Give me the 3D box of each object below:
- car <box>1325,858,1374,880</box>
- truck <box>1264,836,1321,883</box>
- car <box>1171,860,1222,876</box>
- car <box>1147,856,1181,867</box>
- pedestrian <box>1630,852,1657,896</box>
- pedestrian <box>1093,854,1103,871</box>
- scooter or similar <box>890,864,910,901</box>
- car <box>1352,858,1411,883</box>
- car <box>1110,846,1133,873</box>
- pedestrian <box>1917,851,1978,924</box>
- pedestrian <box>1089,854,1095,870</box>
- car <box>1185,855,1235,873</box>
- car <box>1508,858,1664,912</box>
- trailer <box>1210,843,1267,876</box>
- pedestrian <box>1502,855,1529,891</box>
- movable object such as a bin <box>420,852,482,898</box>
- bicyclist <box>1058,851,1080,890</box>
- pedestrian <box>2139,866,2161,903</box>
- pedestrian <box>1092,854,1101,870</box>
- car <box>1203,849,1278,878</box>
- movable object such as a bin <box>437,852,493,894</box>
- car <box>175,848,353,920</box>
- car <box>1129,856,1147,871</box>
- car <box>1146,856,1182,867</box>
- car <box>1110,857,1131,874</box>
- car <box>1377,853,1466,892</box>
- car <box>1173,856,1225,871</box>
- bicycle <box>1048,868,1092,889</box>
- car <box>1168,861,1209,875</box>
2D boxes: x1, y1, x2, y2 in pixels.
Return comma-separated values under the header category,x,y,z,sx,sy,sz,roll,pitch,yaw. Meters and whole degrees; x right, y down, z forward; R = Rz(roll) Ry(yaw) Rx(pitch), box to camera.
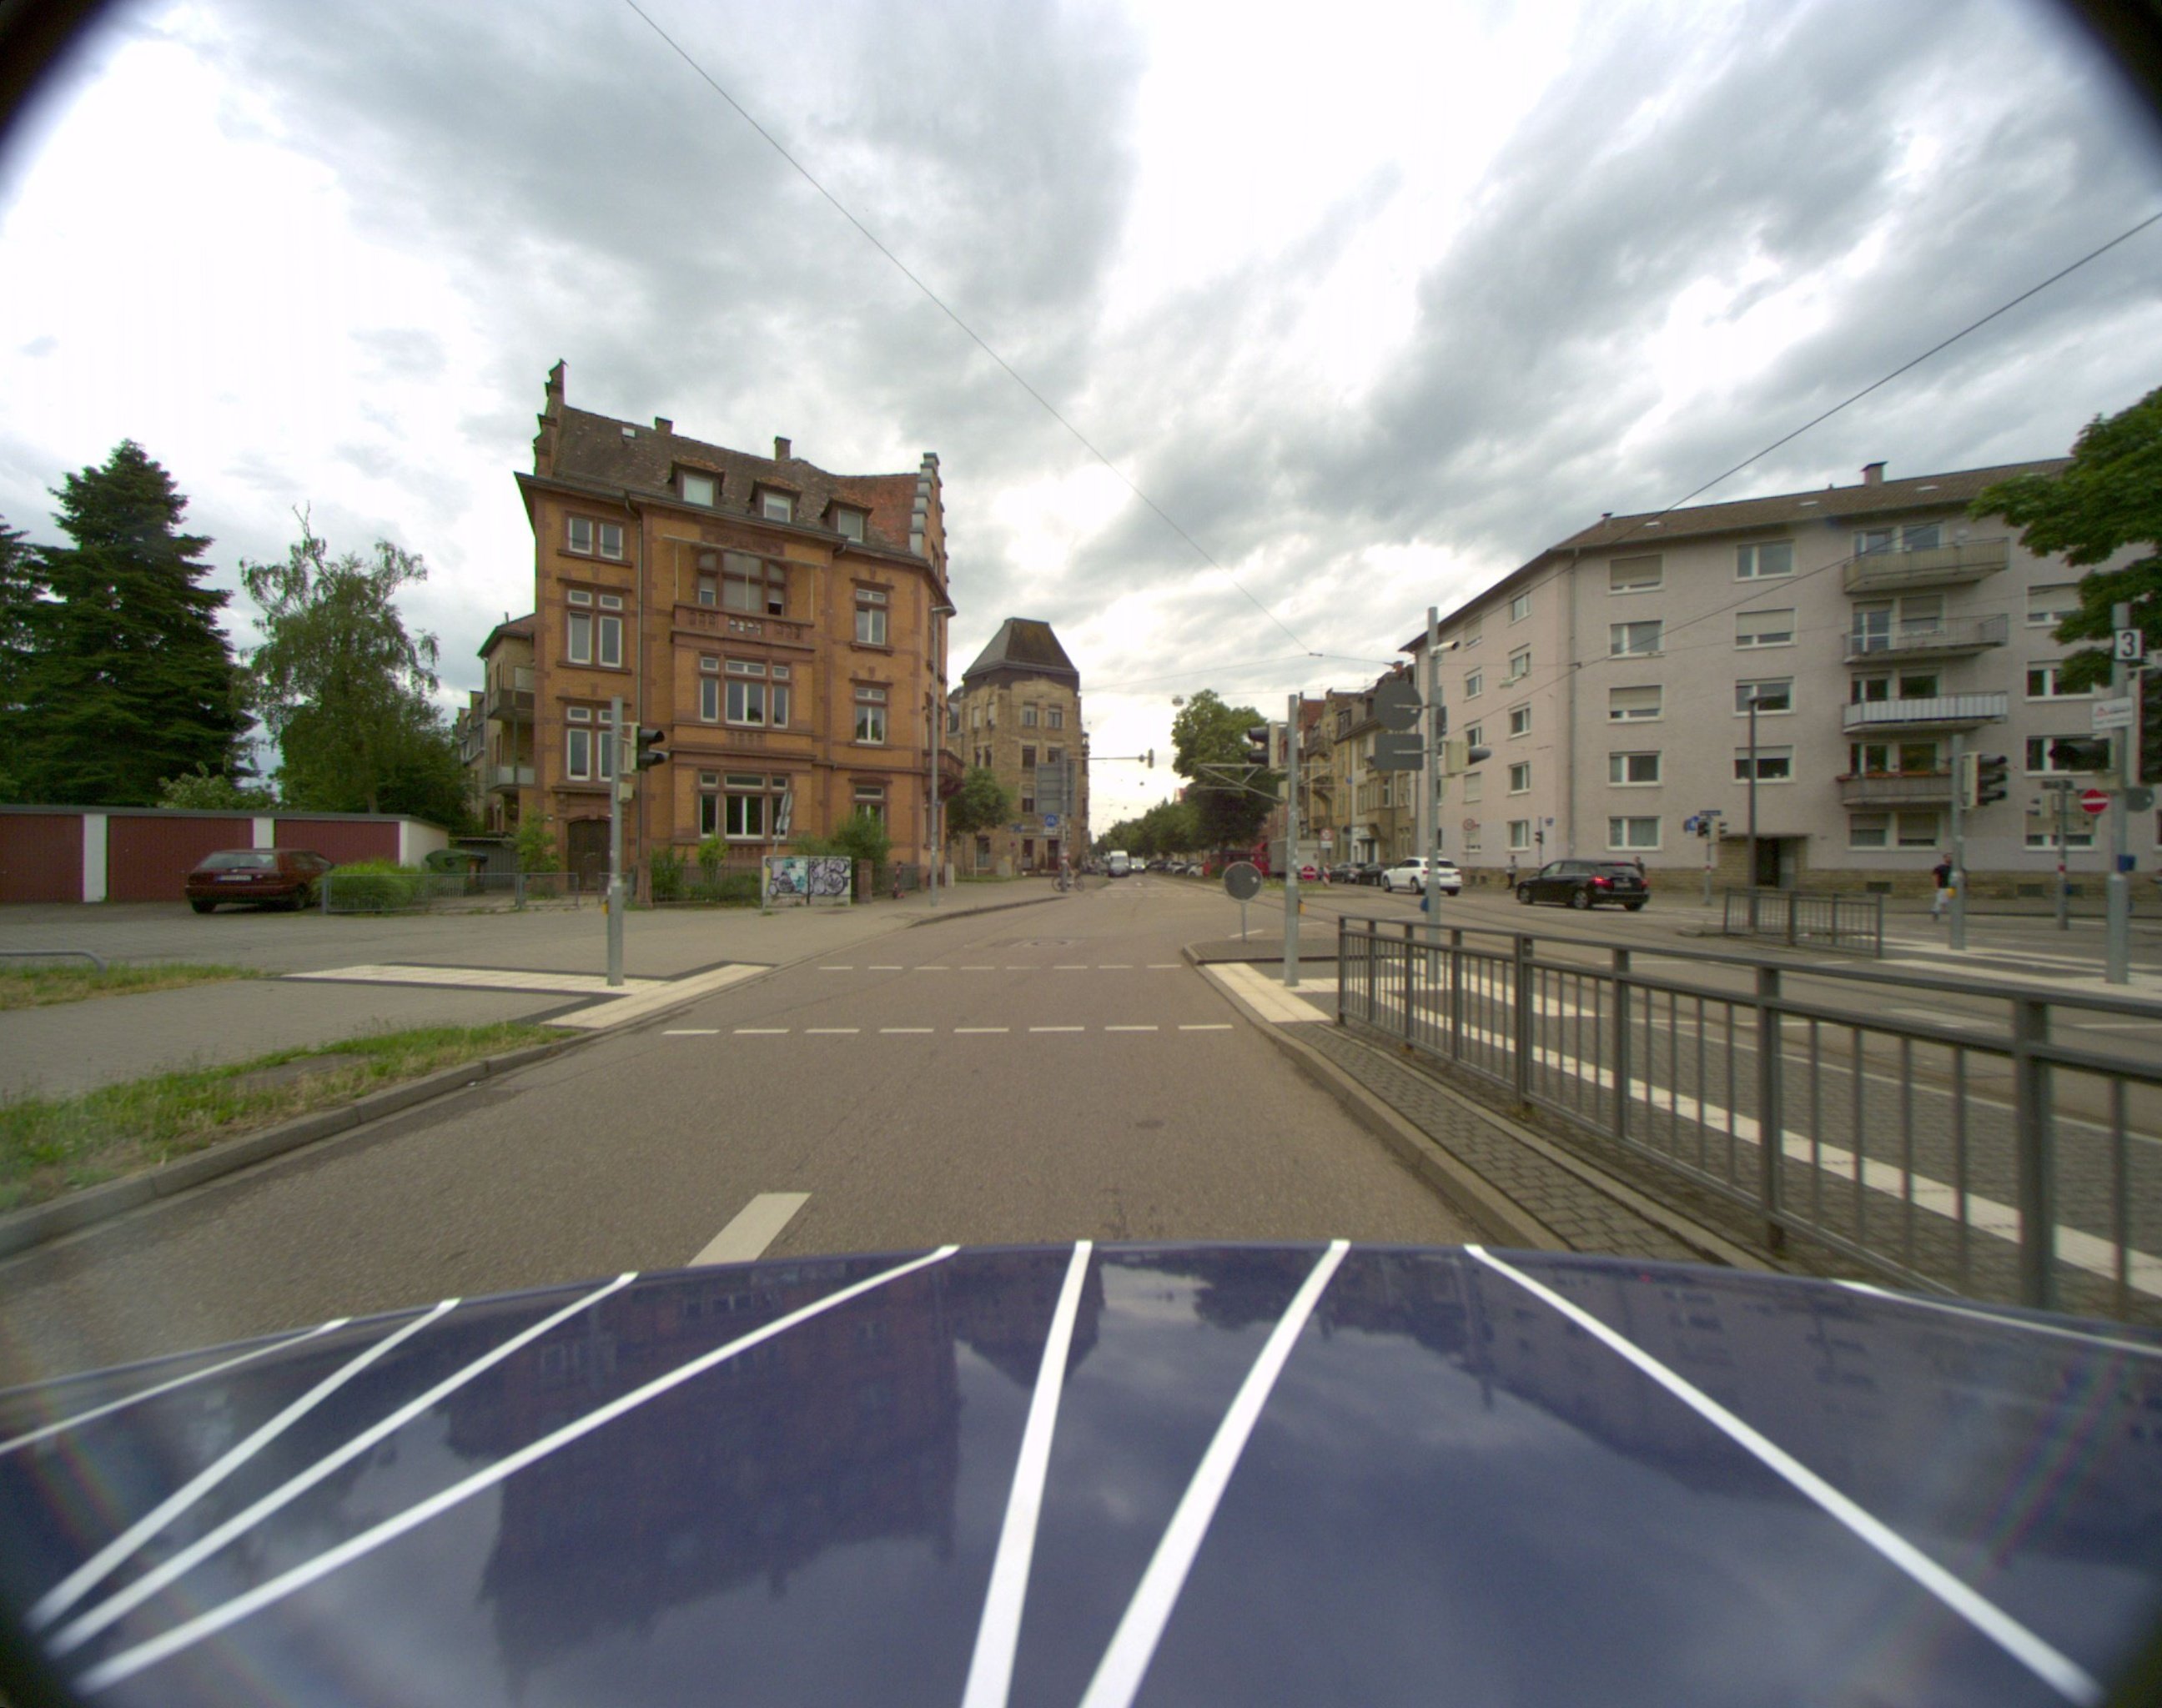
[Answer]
category,x,y,z,sx,sy,sz,roll,pitch,yaw
car,18.191,1.003,51.721,1.639,1.434,4.570,0,0,-1
truck,15.091,0.376,54.682,2.190,3.139,7.332,0,0,1
car,10.666,1.267,70.389,4.327,1.426,1.903,0,0,43
car,11.926,1.069,109.535,4.528,1.481,2.040,0,1,44
pedestrian,23.813,0.839,32.159,0.721,1.802,0.684,0,0,16
pedestrian,1.712,0.878,77.740,0.865,1.690,0.537,2,0,-13
scooter or similar,-5.848,0.913,24.566,0.377,1.134,1.199,1,0,-2
car,18.210,0.977,46.275,1.639,1.434,4.762,0,0,-1
car,4.079,0.537,77.734,2.018,2.534,7.017,-2,0,1
pedestrian,22.805,0.860,20.022,0.833,1.863,1.048,1,1,36
pedestrian,1.165,0.818,78.937,0.509,1.707,0.580,2,0,-9
car,10.928,0.836,64.338,3.852,1.454,1.693,0,0,43
car,15.792,0.899,24.105,1.775,1.484,4.536,0,0,-3
trailer,11.772,0.404,56.742,3.661,2.330,1.935,0,0,33
pedestrian,21.043,0.910,36.817,0.799,1.756,0.900,0,0,-1
movable object such as a bin,-19.555,0.623,23.638,1.161,1.382,1.459,0,1,-26
bicyclist,-0.556,0.744,34.932,0.683,1.785,0.889,-1,0,-31
pedestrian,38.299,1.081,26.879,0.729,1.280,0.691,0,0,16
pedestrian,1.664,0.865,79.689,0.706,1.690,0.492,2,0,-27
car,11.178,0.628,53.455,4.754,1.962,1.964,0,0,39
movable object such as a bin,-20.862,0.612,25.776,1.161,1.382,1.459,0,1,-26
car,-18.852,0.620,17.747,1.694,1.444,3.477,0,1,-26
car,6.690,1.068,89.190,1.828,1.661,5.044,-1,0,2
car,10.916,0.966,100.116,4.654,1.360,1.761,0,0,43
car,3.646,1.038,71.201,1.828,1.441,5.007,-1,0,2
car,15.192,0.779,34.146,1.775,1.629,4.536,0,0,-3
car,11.551,0.940,74.371,4.674,1.426,1.903,0,0,40
bicycle,-0.487,1.116,34.761,1.871,0.918,0.794,0,0,-32
car,11.549,1.453,81.884,4.105,1.475,1.801,0,0,41
